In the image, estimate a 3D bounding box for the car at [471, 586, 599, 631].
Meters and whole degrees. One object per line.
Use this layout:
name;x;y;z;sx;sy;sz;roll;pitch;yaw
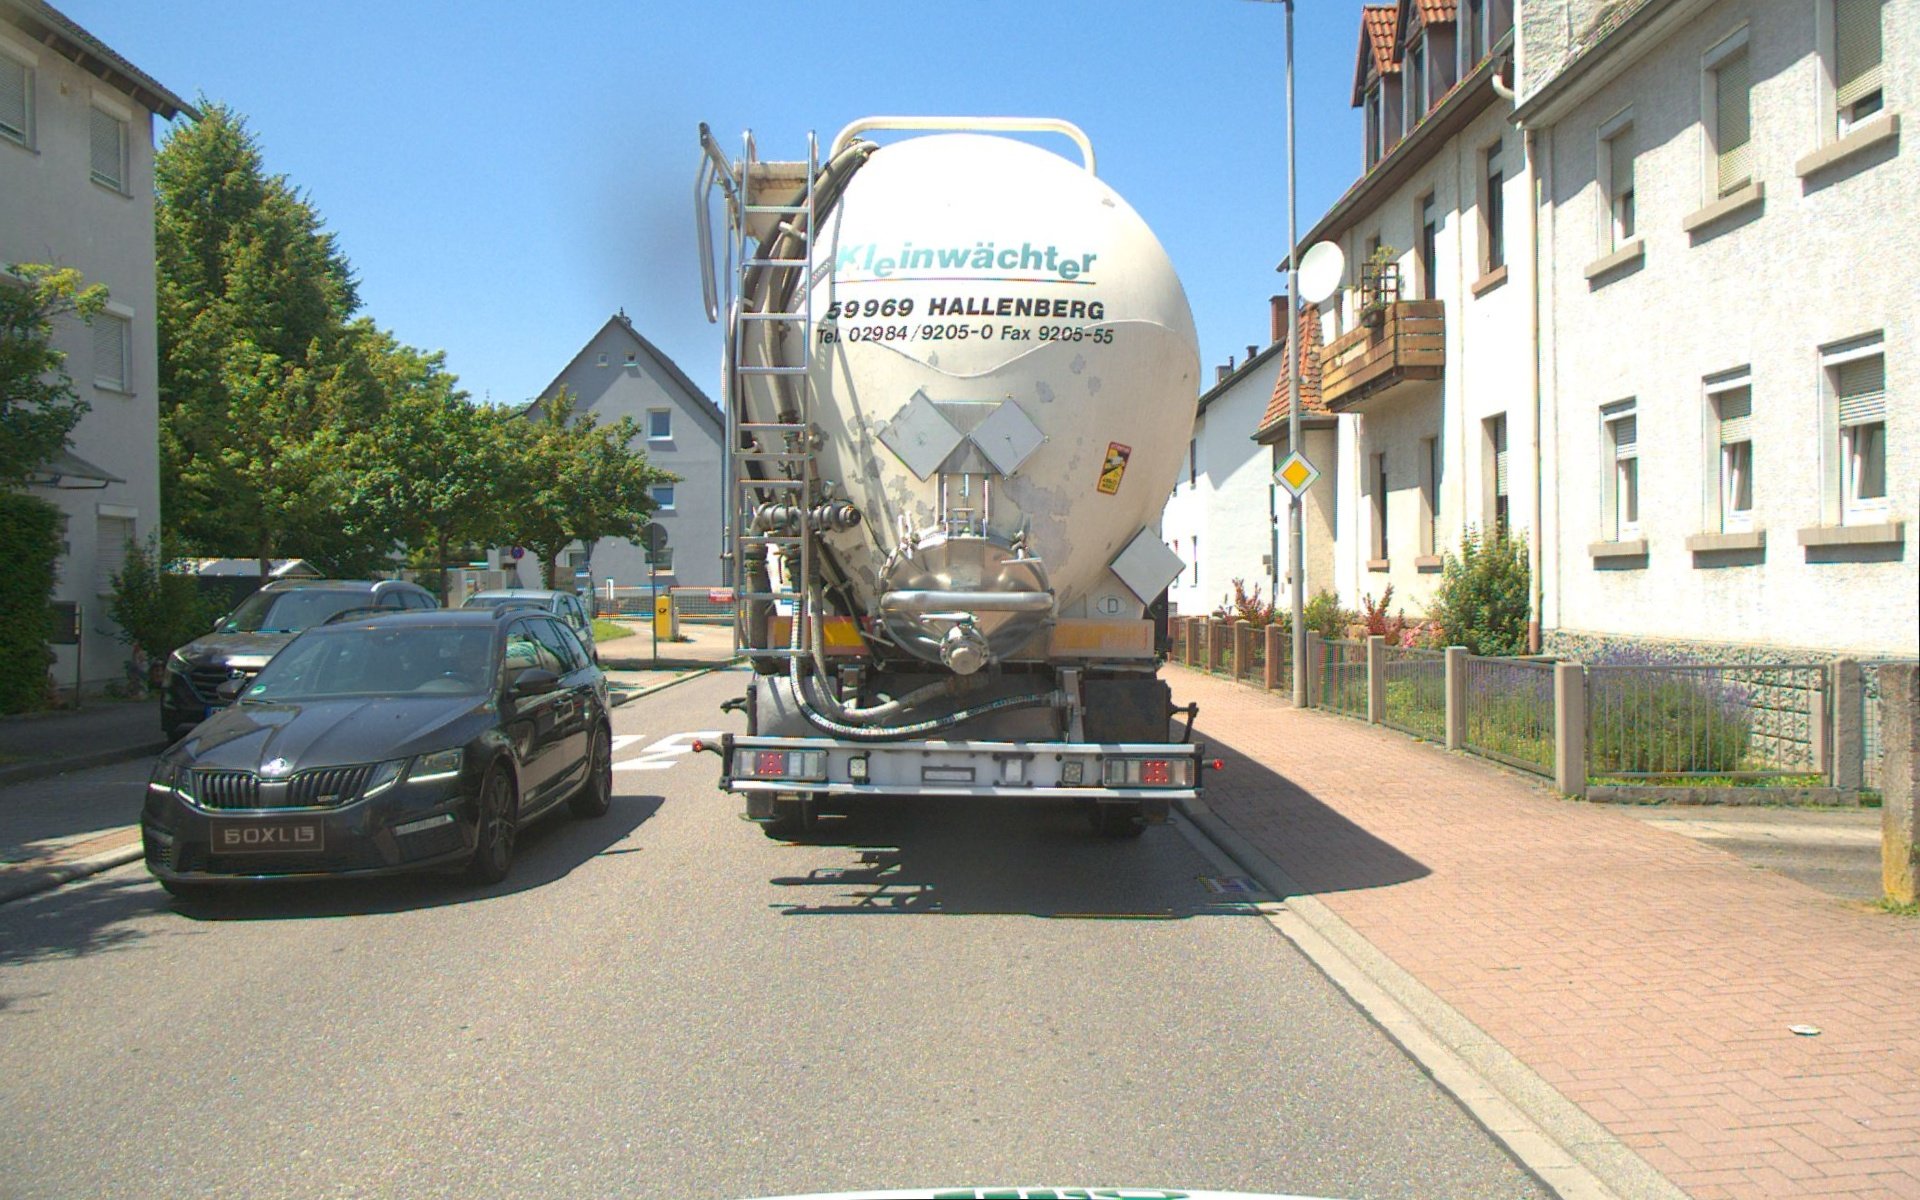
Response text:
car;-16.595;0.321;64.704;4.526;1.680;1.742;0;0;7

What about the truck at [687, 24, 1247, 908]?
truck;-0.013;-0.638;12.453;2.587;4.086;9.560;0;0;-1

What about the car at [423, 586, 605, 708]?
car;-6.330;0.617;23.858;1.663;1.608;3.837;0;0;-1

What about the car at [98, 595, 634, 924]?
car;-3.238;0.748;9.984;1.684;1.472;4.254;-2;0;-1

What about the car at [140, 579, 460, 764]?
car;-6.508;0.629;16.794;1.657;1.648;3.997;0;0;0
